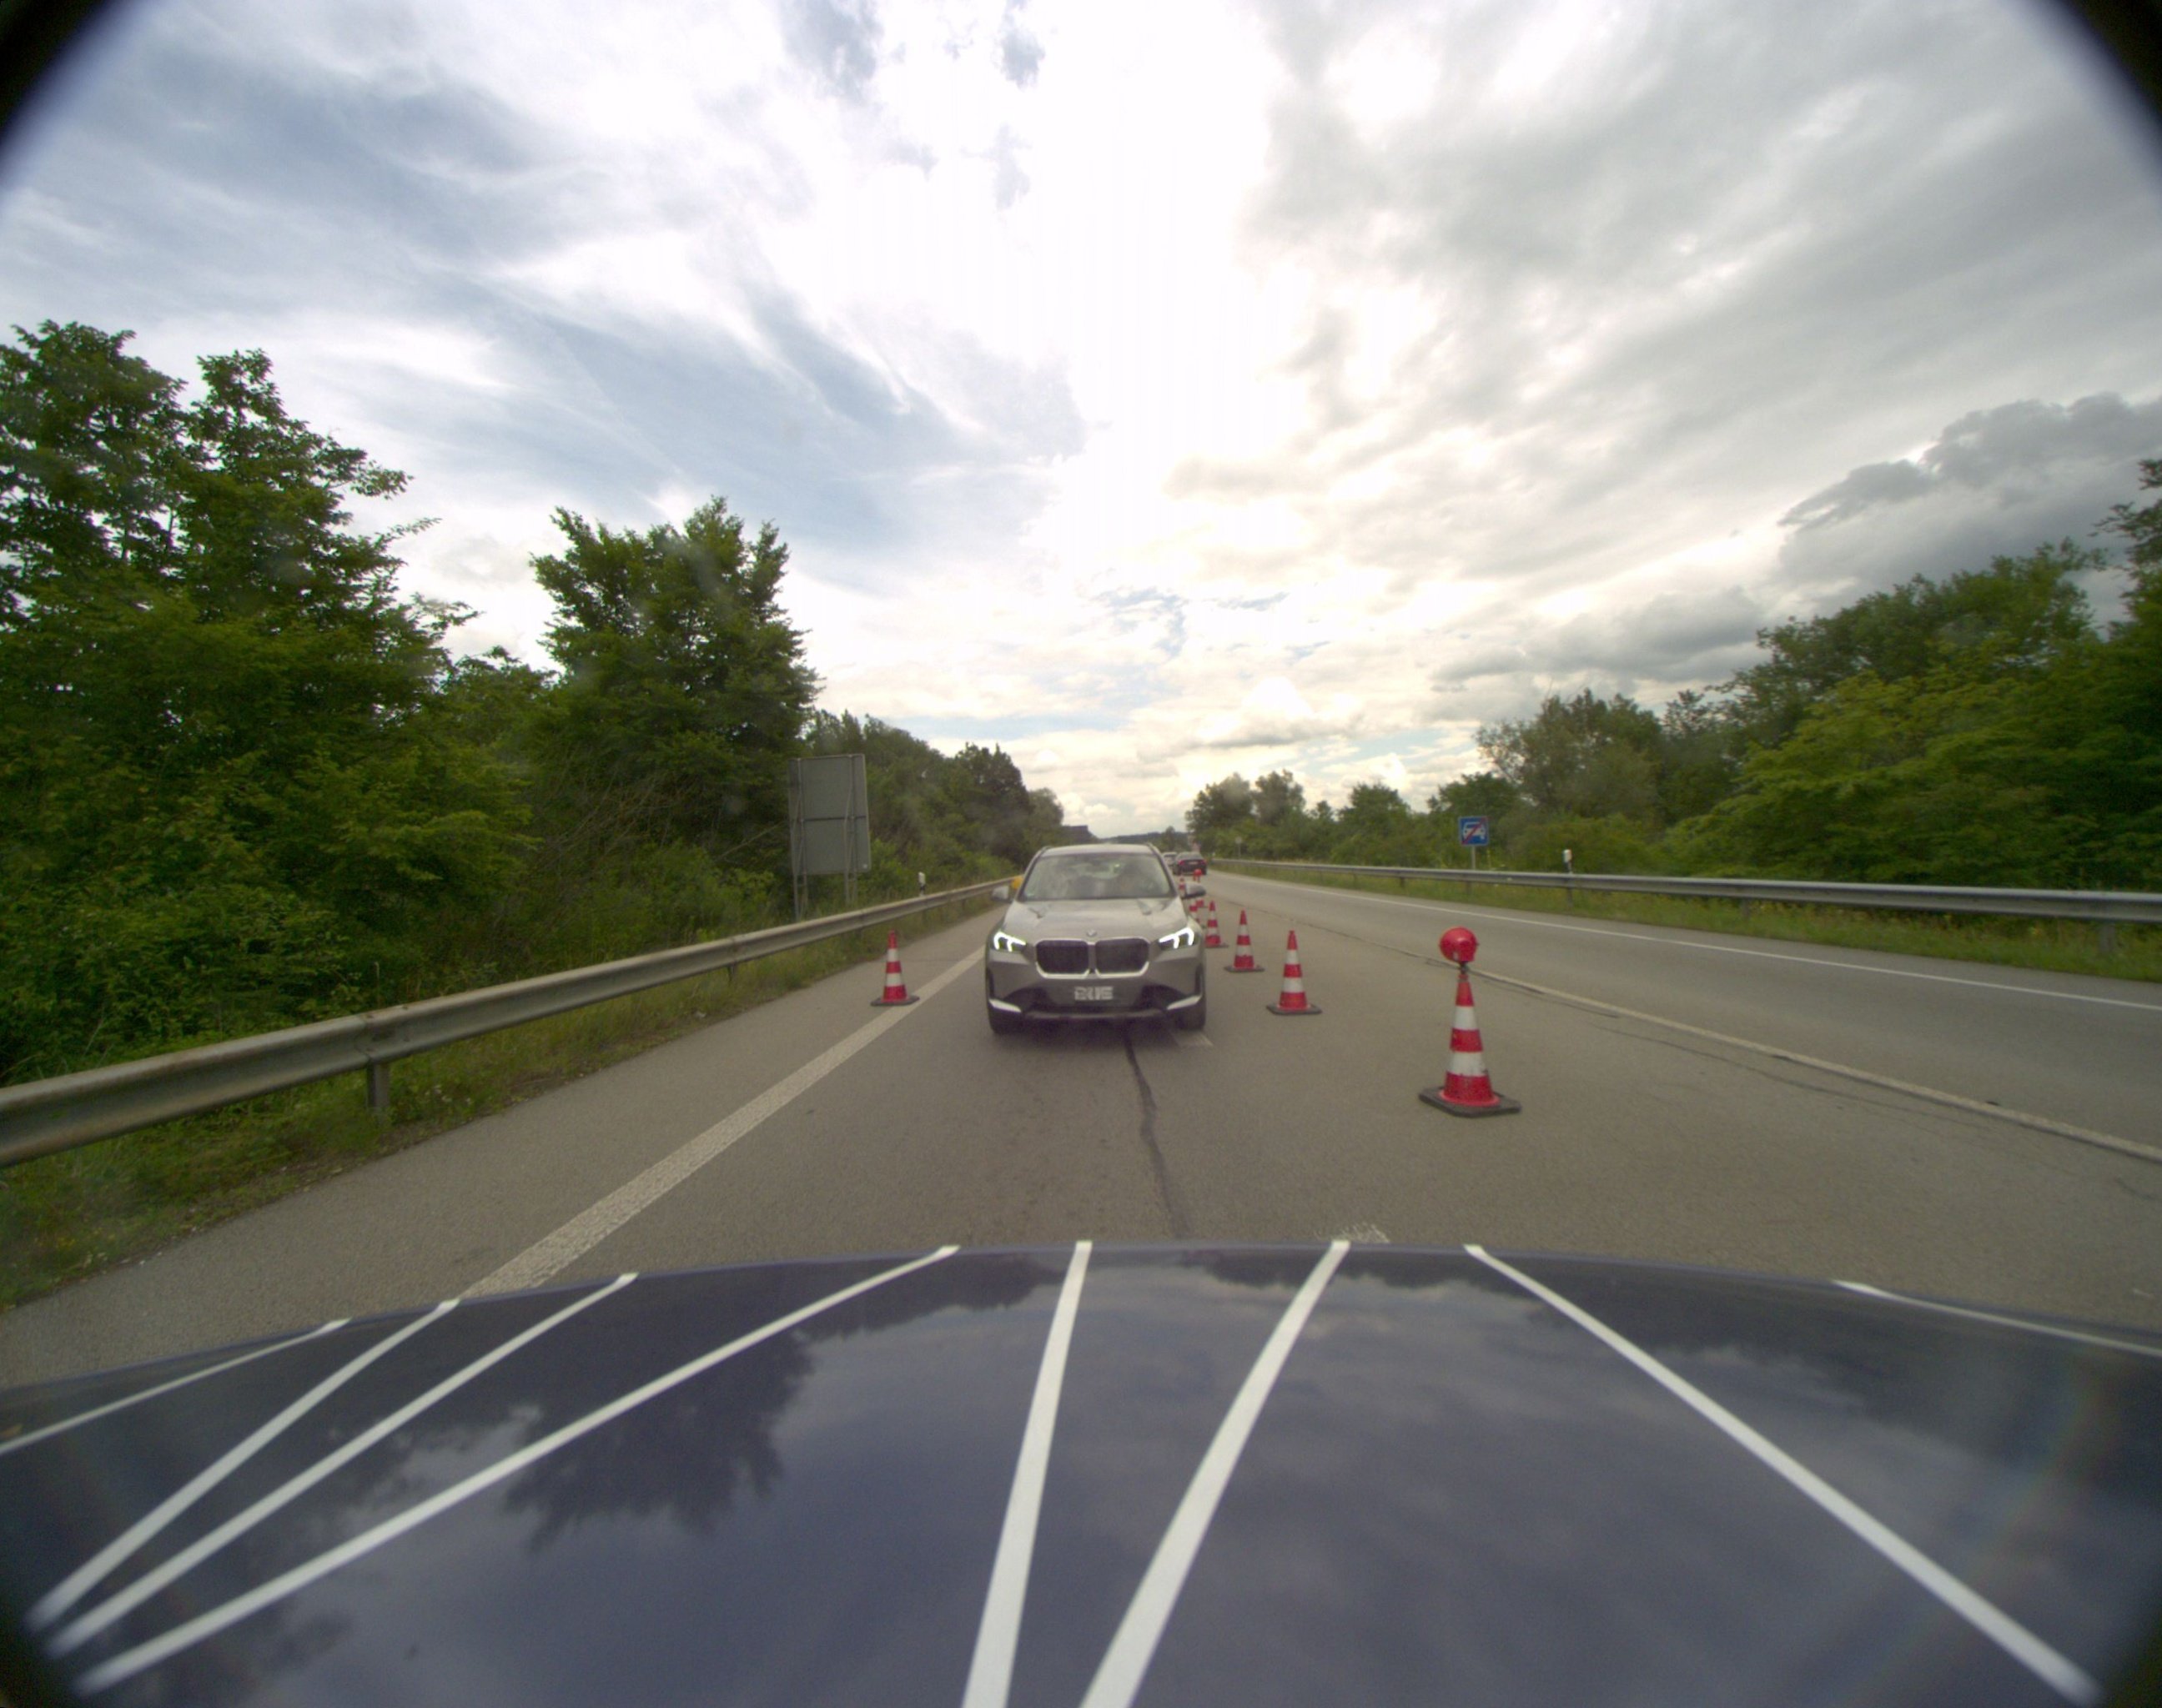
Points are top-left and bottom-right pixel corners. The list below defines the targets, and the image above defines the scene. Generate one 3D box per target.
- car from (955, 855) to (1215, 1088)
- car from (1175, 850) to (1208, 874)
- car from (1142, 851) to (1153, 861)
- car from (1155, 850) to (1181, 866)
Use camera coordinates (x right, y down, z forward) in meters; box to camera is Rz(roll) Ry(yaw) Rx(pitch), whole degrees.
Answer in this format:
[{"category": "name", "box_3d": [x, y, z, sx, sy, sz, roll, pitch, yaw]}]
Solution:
[{"category": "car", "box_3d": [0.152, 0.854, 7.662, 1.817, 1.598, 4.434, -2, 0, 3]}, {"category": "car", "box_3d": [6.997, 0.477, 48.483, 1.712, 1.428, 4.337, -2, 0, 4]}, {"category": "car", "box_3d": [13.755, 0.349, 157.322, 2.034, 1.976, 5.316, -2, 0, 3]}, {"category": "car", "box_3d": [7.739, 0.342, 68.090, 1.683, 1.393, 4.373, -2, 0, -1]}]
